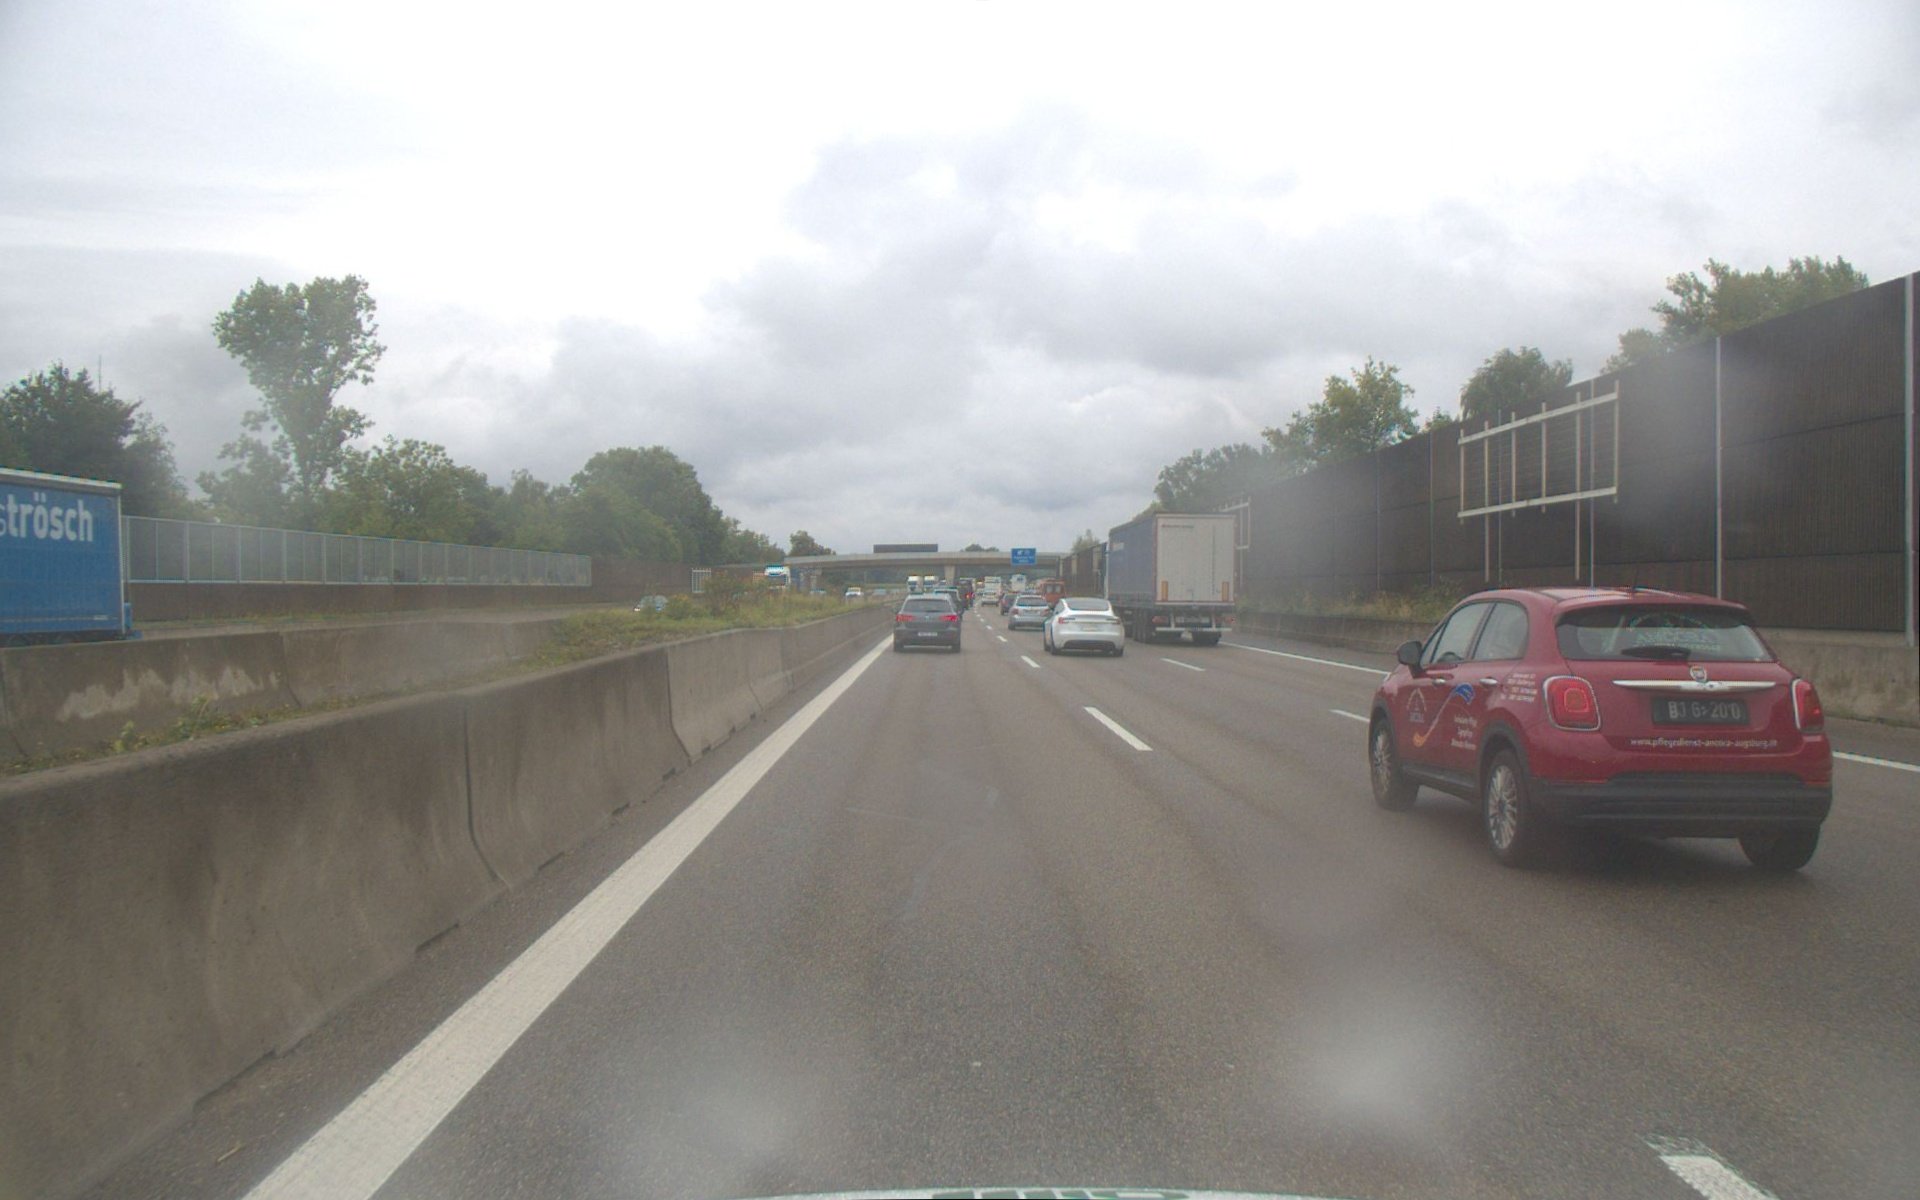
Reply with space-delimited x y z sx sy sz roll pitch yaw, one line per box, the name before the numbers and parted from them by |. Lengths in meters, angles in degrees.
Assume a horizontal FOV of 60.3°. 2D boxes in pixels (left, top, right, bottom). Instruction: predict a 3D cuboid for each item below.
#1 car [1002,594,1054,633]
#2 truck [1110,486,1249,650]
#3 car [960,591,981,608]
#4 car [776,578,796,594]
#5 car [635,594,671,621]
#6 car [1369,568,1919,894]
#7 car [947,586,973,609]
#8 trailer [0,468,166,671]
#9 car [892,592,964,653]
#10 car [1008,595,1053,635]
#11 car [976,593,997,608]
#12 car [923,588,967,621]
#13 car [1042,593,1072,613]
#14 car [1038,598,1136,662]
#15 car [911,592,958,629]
car | 2.826 0.548 69.849 1.953 1.545 3.999 1 0 -1
truck | 6.883 -0.952 53.068 2.984 4.817 7.675 1 0 -3
car | 1.056 -0.085 163.046 1.953 1.652 3.999 1 0 -1
car | -17.561 -1.431 166.766 1.955 1.545 3.995 1 0 -6
car | -18.846 0.464 101.743 1.529 1.596 3.687 1 0 -1
car | 4.075 0.670 10.608 1.917 1.676 4.000 -1 0 0
car | -0.023 -0.199 137.304 1.954 1.847 3.998 1 0 -3
trailer | -19.227 -0.592 30.204 2.932 3.756 14.053 1 0 -2
car | -0.862 0.554 42.700 1.728 1.478 3.998 1 0 -3
car | 2.926 0.607 69.465 1.667 1.570 3.838 1 0 -1
car | 2.756 0.058 171.272 1.953 1.545 3.999 1 0 -2
car | -0.780 0.222 83.299 1.954 1.612 3.996 0 1 -5
car | 7.537 0.235 128.430 1.953 1.545 3.999 1 0 -2
car | 3.190 0.729 42.370 1.954 1.512 3.997 1 0 -4
car | -1.055 0.411 67.909 1.746 1.431 3.623 1 0 -4
